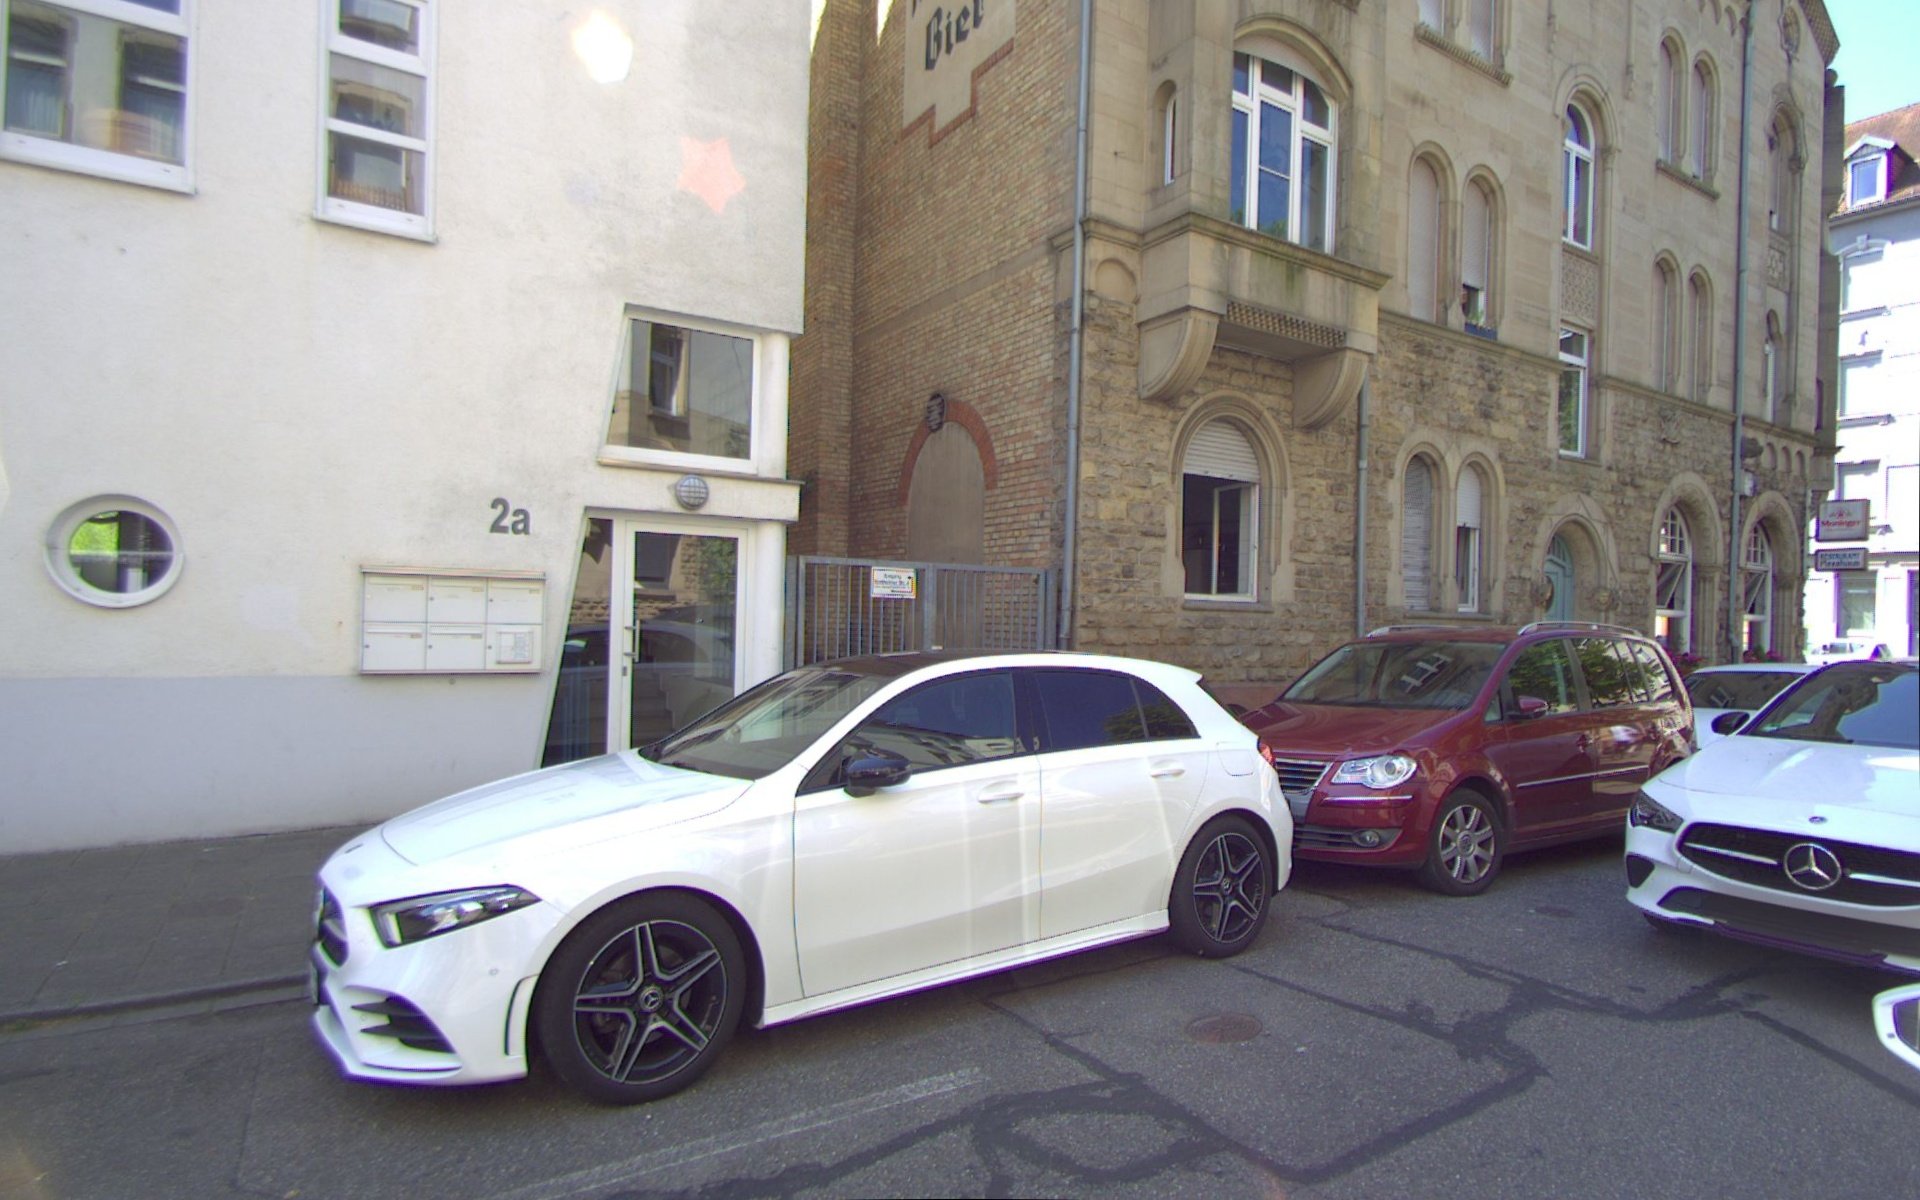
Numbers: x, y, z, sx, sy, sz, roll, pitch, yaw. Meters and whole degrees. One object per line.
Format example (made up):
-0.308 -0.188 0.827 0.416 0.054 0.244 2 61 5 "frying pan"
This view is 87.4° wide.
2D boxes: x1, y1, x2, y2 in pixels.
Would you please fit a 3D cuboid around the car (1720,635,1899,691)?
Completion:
26.894 1.957 31.929 1.787 1.582 4.024 2 -2 -32 "car"

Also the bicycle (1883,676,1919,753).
13.568 1.620 13.587 0.363 1.021 1.514 2 1 -35 "bicycle"

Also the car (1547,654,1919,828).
7.811 1.243 9.983 4.469 1.370 1.691 3 -3 -35 "car"

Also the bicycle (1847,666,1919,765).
12.209 1.485 12.266 0.391 1.145 1.958 2 2 -35 "bicycle"

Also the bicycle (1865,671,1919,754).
13.231 1.563 13.355 0.410 1.059 1.693 2 1 -35 "bicycle"

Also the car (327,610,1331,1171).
-0.364 0.879 4.610 4.235 1.479 1.766 3 -3 -34 "car"

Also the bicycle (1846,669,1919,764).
12.507 1.519 12.622 0.432 1.144 1.981 2 0 -35 "bicycle"

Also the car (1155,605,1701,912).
3.411 0.933 7.087 4.011 1.603 1.662 3 -3 -34 "car"

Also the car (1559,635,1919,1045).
5.120 0.959 5.096 4.314 1.480 1.832 2 -3 -32 "car"
